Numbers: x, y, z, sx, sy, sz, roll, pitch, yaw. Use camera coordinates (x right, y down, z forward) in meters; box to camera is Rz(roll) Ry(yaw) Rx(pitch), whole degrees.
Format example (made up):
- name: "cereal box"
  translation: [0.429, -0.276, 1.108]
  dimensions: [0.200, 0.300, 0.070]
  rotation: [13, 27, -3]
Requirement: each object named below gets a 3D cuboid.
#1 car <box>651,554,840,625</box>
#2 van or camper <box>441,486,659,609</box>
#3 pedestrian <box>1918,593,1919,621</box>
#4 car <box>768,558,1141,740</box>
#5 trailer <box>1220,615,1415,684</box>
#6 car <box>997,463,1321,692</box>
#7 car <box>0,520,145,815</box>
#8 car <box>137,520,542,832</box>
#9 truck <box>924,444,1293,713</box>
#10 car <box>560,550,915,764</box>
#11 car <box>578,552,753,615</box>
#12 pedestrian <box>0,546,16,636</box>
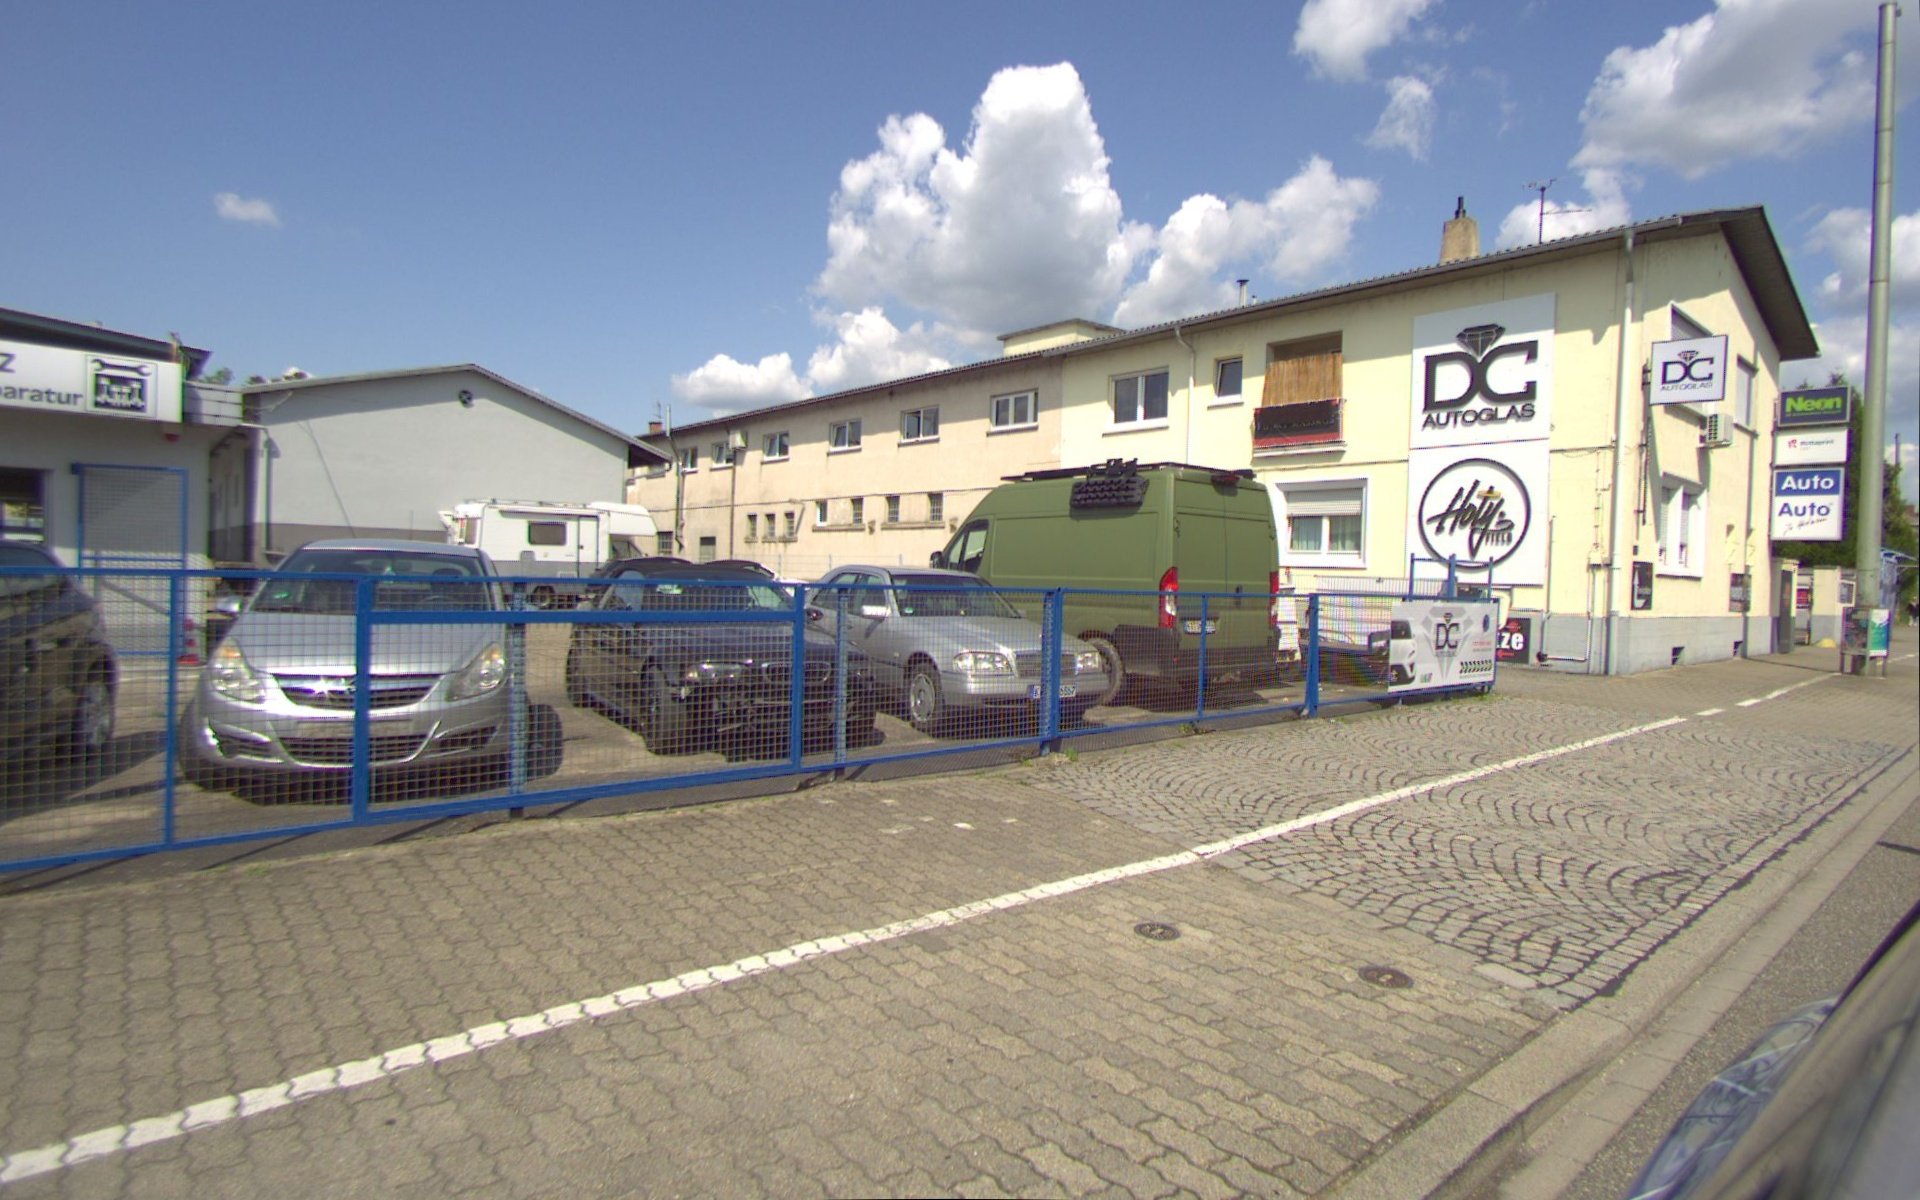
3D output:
- name: "car"
  translation: [-4.925, -0.249, 23.518]
  dimensions: [3.939, 1.497, 1.719]
  rotation: [0, 2, -41]
- name: "van or camper"
  translation: [-11.007, -1.327, 27.366]
  dimensions: [4.971, 2.999, 2.284]
  rotation: [0, 2, -42]
- name: "pedestrian"
  translation: [54.873, 0.409, 57.308]
  dimensions: [0.902, 1.606, 0.816]
  rotation: [1, 1, -41]
- name: "car"
  translation: [-0.295, 0.318, 10.204]
  dimensions: [1.768, 1.413, 4.216]
  rotation: [1, 2, -33]
- name: "trailer"
  translation: [5.083, 0.668, 14.527]
  dimensions: [1.245, 0.776, 2.330]
  rotation: [0, 2, -39]
- name: "car"
  translation: [2.613, -0.347, 14.141]
  dimensions: [1.771, 2.702, 4.208]
  rotation: [1, 2, -40]
- name: "car"
  translation: [-5.746, 0.322, 5.032]
  dimensions: [1.685, 1.497, 4.012]
  rotation: [1, 2, -25]
- name: "car"
  translation: [-3.949, 0.300, 7.101]
  dimensions: [1.766, 1.497, 4.158]
  rotation: [1, 2, -24]
- name: "truck"
  translation: [1.624, -0.287, 12.144]
  dimensions: [2.033, 2.639, 3.996]
  rotation: [1, 2, -40]
- name: "car"
  translation: [-2.123, 0.308, 8.745]
  dimensions: [1.768, 1.403, 3.837]
  rotation: [1, 2, -32]
- name: "car"
  translation: [-7.478, -0.413, 25.888]
  dimensions: [3.939, 1.497, 1.719]
  rotation: [0, 2, -41]
- name: "pedestrian"
  translation: [-13.257, -0.131, 13.839]
  dimensions: [0.479, 1.228, 0.501]
  rotation: [1, 1, -42]
